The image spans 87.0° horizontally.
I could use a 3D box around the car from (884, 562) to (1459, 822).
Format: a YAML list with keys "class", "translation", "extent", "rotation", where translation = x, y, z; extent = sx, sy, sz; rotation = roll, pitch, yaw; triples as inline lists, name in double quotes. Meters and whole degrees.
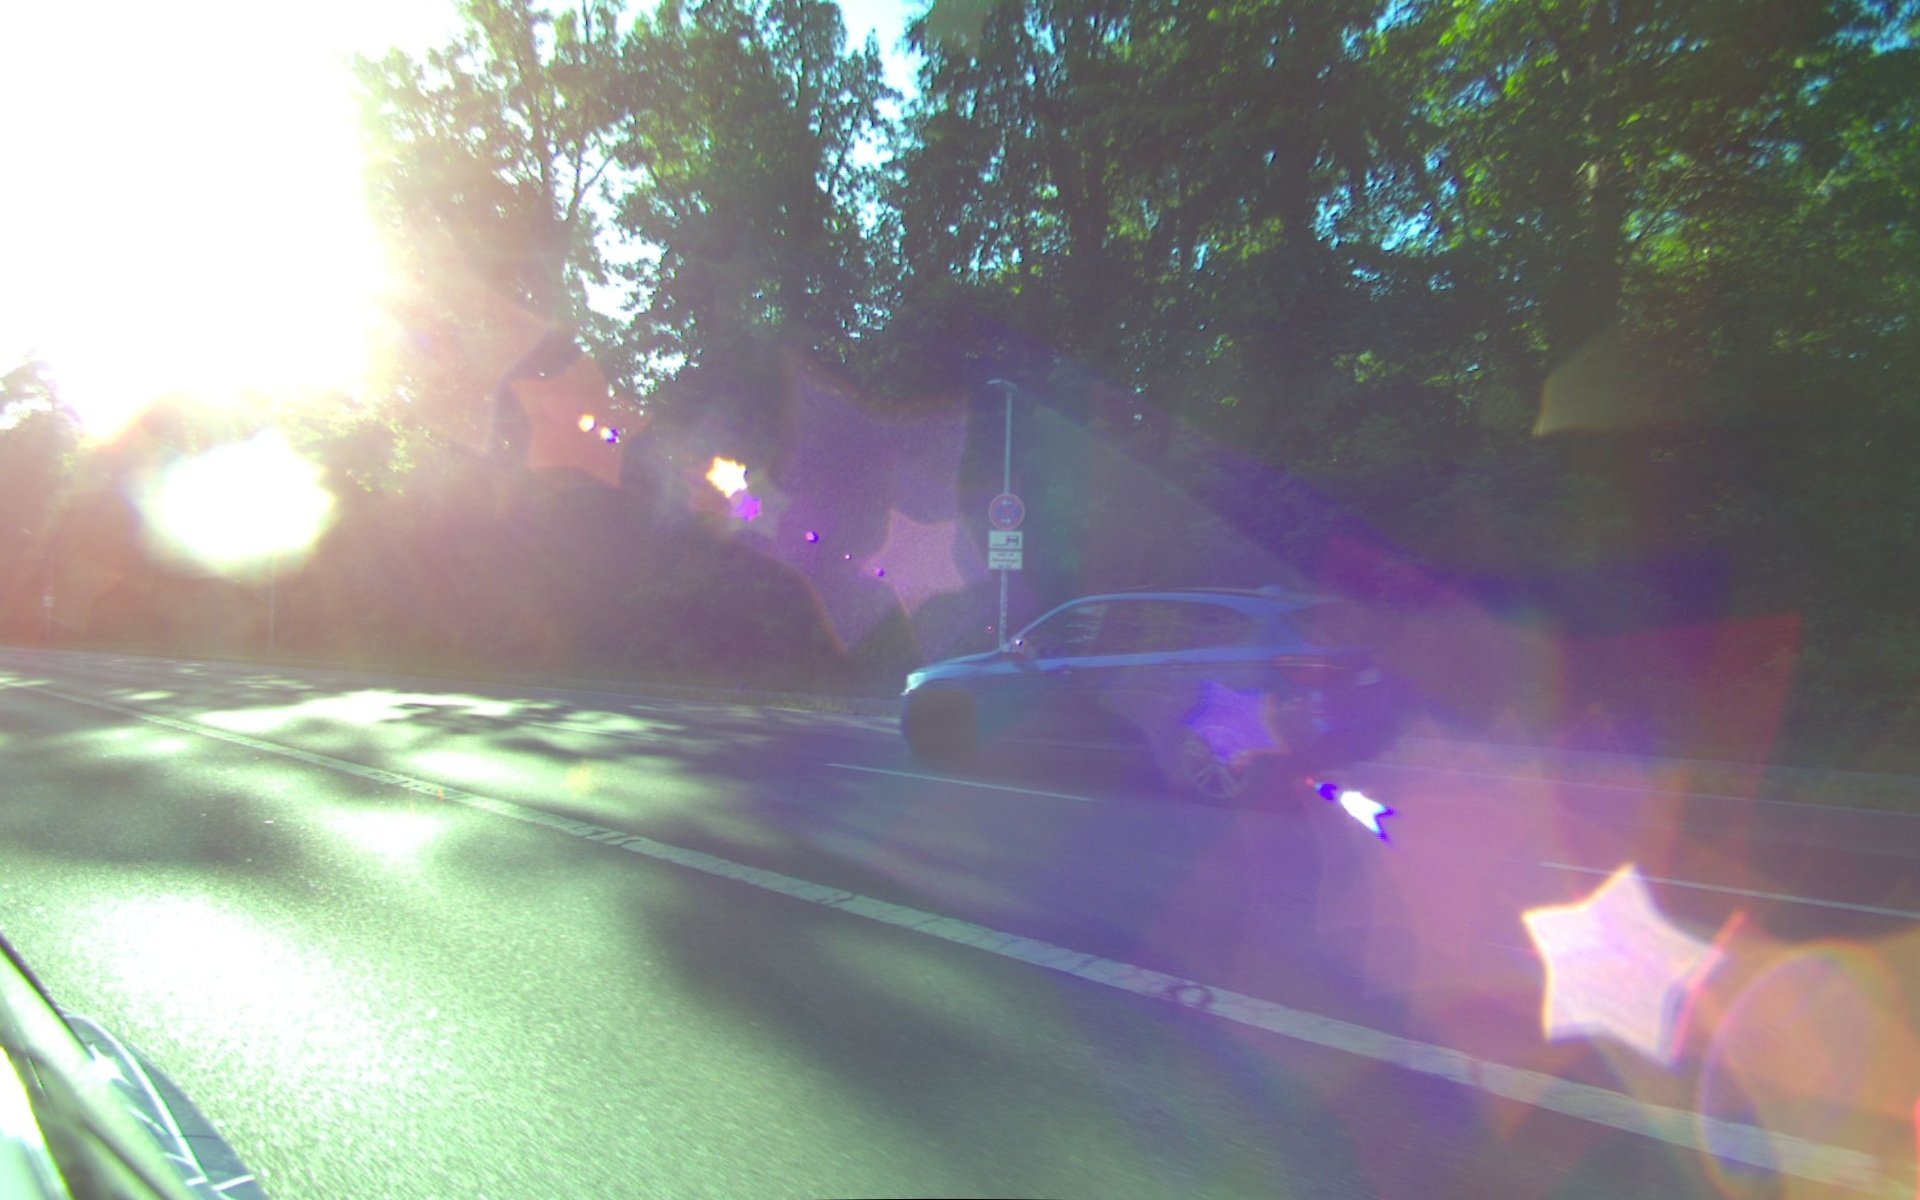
- class: "car"
  translation: [1.590, 0.631, 8.659]
  extent: [4.517, 1.676, 1.789]
  rotation: [-1, -1, 40]
